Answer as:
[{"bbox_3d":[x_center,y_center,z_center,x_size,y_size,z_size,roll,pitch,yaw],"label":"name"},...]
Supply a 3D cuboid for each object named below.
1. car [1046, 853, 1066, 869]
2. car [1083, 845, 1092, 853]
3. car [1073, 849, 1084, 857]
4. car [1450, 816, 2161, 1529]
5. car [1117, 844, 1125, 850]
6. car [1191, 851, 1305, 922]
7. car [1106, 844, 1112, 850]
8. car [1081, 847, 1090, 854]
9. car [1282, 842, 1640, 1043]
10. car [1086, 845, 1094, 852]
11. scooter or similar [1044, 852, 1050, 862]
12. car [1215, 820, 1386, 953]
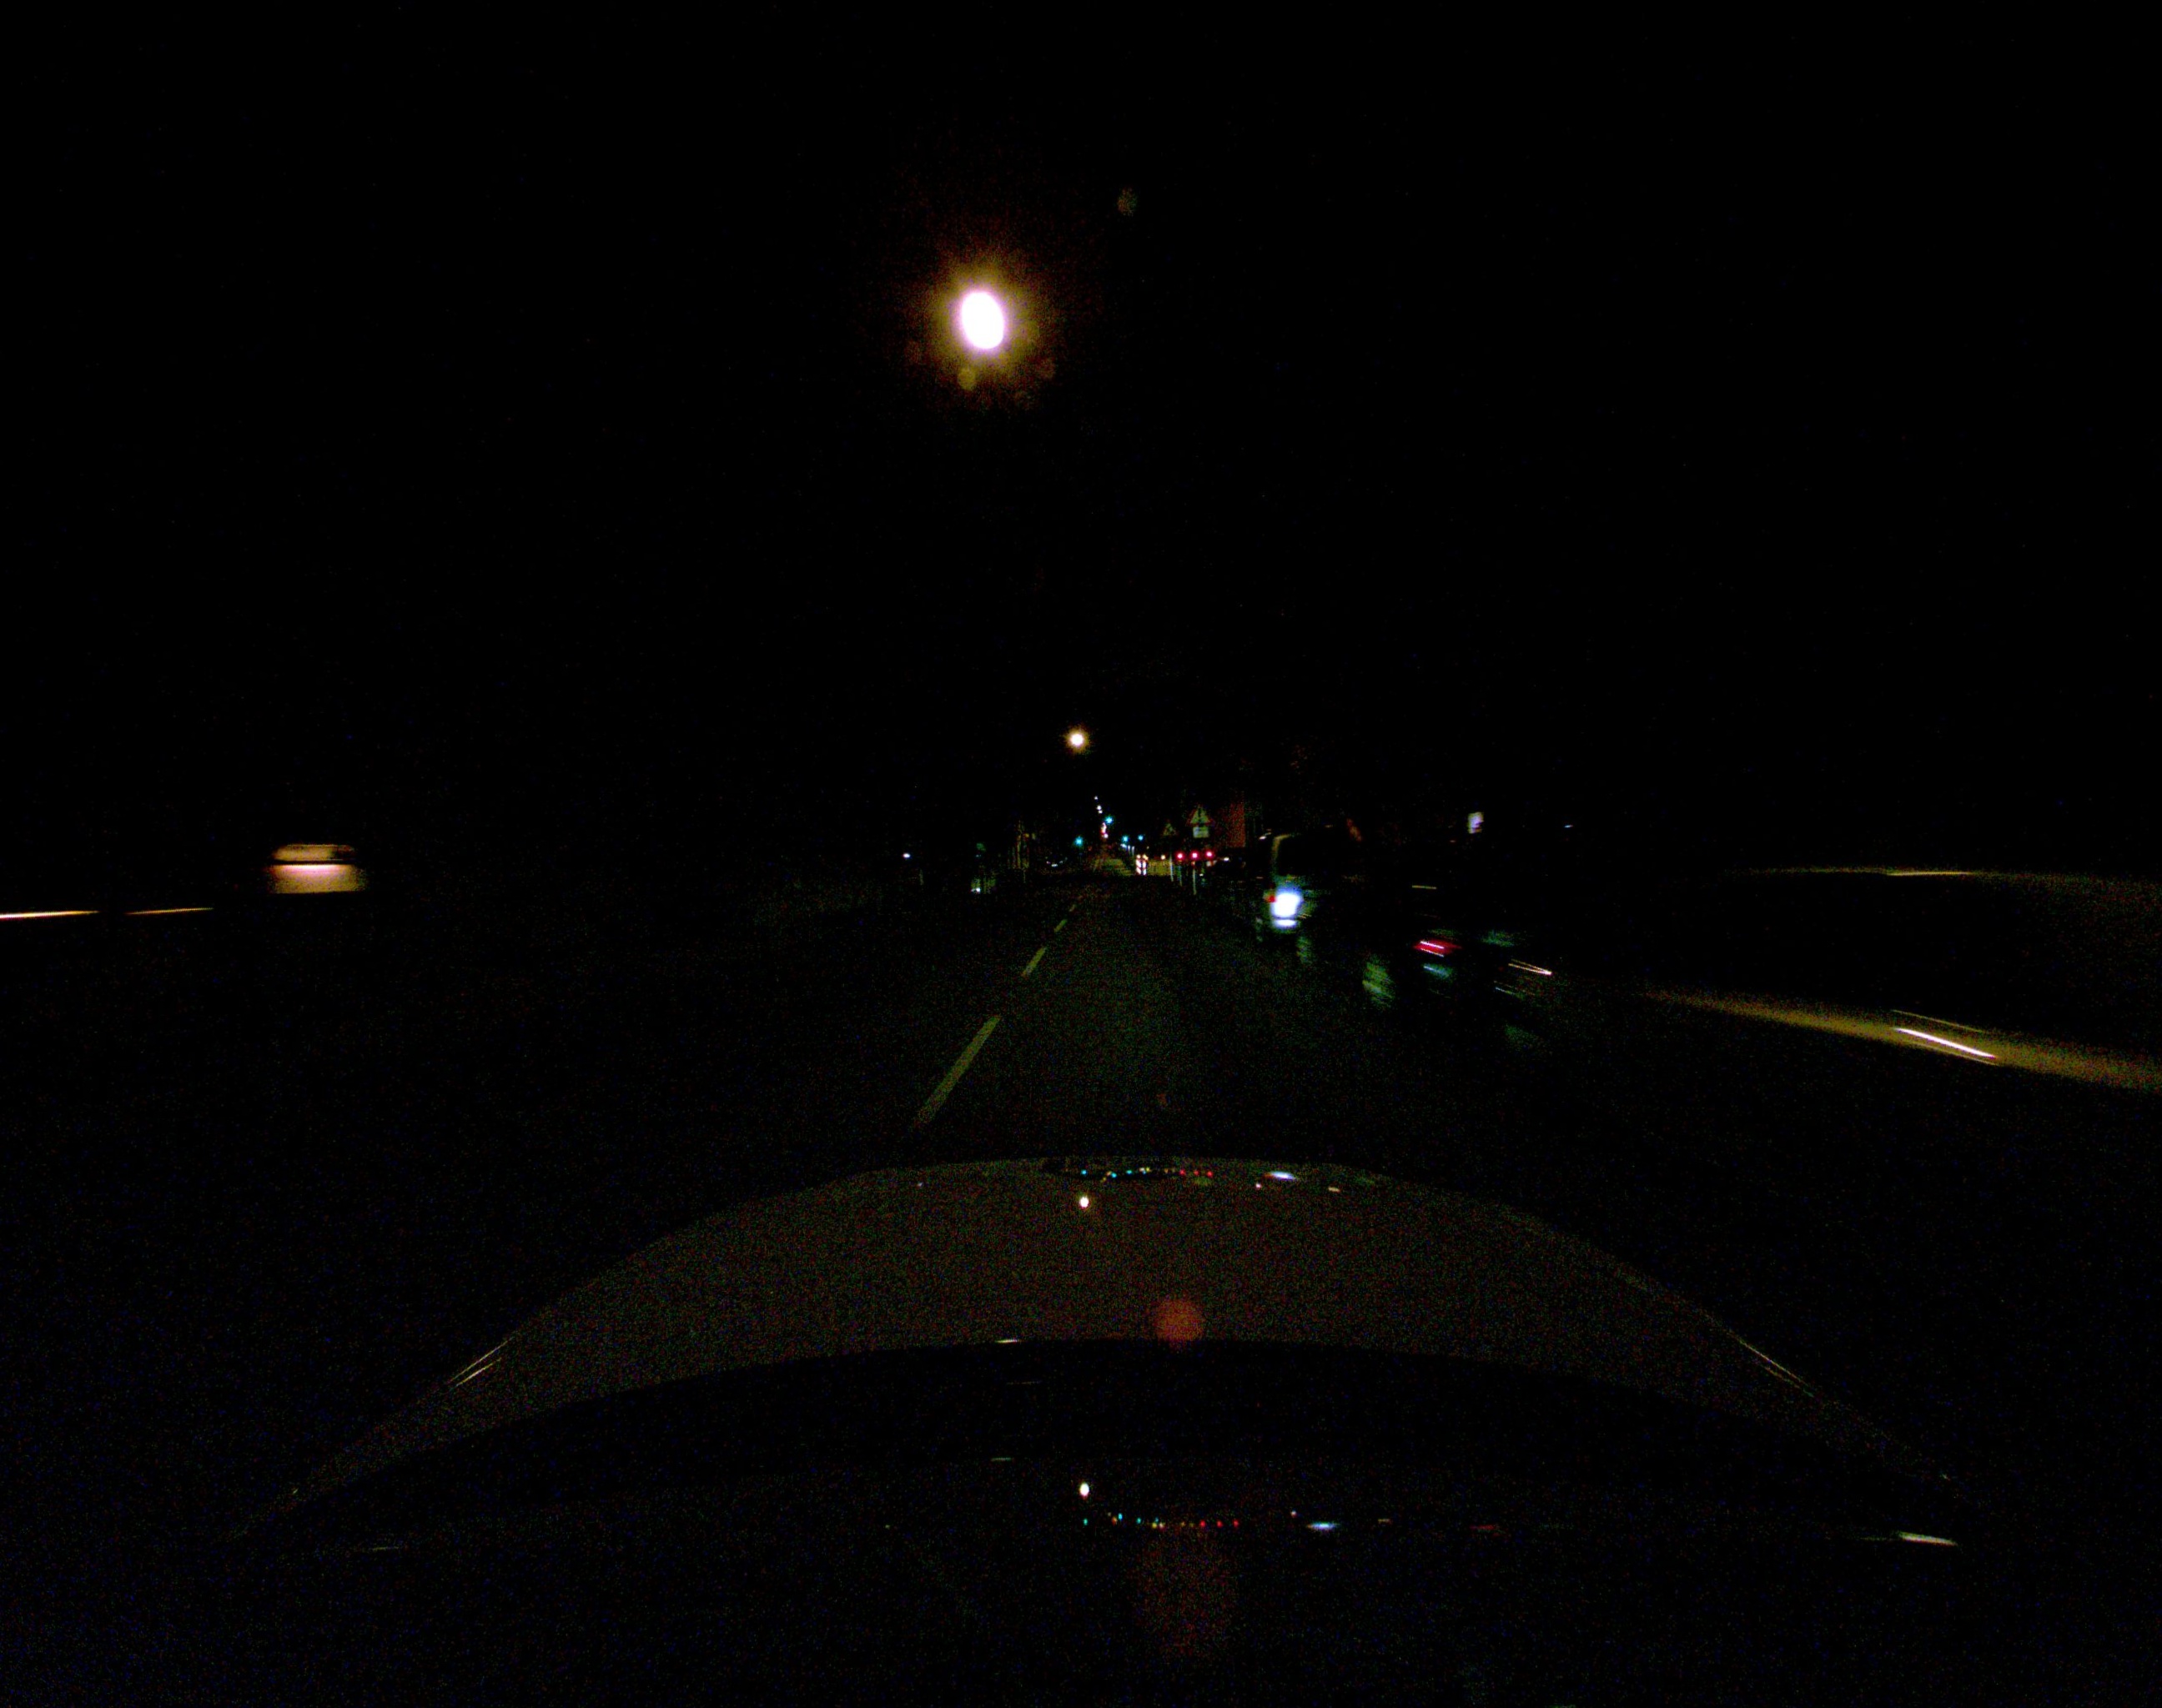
[{"bbox_3d":[-2.478,0.719,81.617,1.664,1.443,4.207,-2,0,2],"label":"car"},{"bbox_3d":[1.594,-1.165,197.064,1.866,1.814,4.207,-2,1,2],"label":"car"},{"bbox_3d":[-0.412,-0.209,153.713,1.866,1.544,4.207,-2,0,2],"label":"car"},{"bbox_3d":[3.242,0.671,3.279,1.733,1.477,4.002,-5,0,2],"label":"car"},{"bbox_3d":[10.030,-1.732,203.900,1.866,1.544,4.207,-2,0,2],"label":"car"},{"bbox_3d":[3.814,0.690,19.335,1.722,1.419,4.322,-3,0,0],"label":"car"},{"bbox_3d":[8.499,-2.182,247.074,1.866,1.814,4.208,-2,0,3],"label":"car"},{"bbox_3d":[1.148,-0.803,190.929,1.866,1.544,4.207,-2,0,2],"label":"car"},{"bbox_3d":[3.424,0.673,8.397,1.679,1.421,4.445,-4,0,2],"label":"car"},{"bbox_3d":[2.304,-1.448,215.360,1.866,1.814,4.207,-3,0,2],"label":"car"},{"bbox_3d":[-4.442,0.413,107.593,0.526,1.165,2.508,-4,-1,2],"label":"scooter or similar"},{"bbox_3d":[3.588,0.476,14.143,1.729,1.855,4.316,-3,0,0],"label":"car"}]
